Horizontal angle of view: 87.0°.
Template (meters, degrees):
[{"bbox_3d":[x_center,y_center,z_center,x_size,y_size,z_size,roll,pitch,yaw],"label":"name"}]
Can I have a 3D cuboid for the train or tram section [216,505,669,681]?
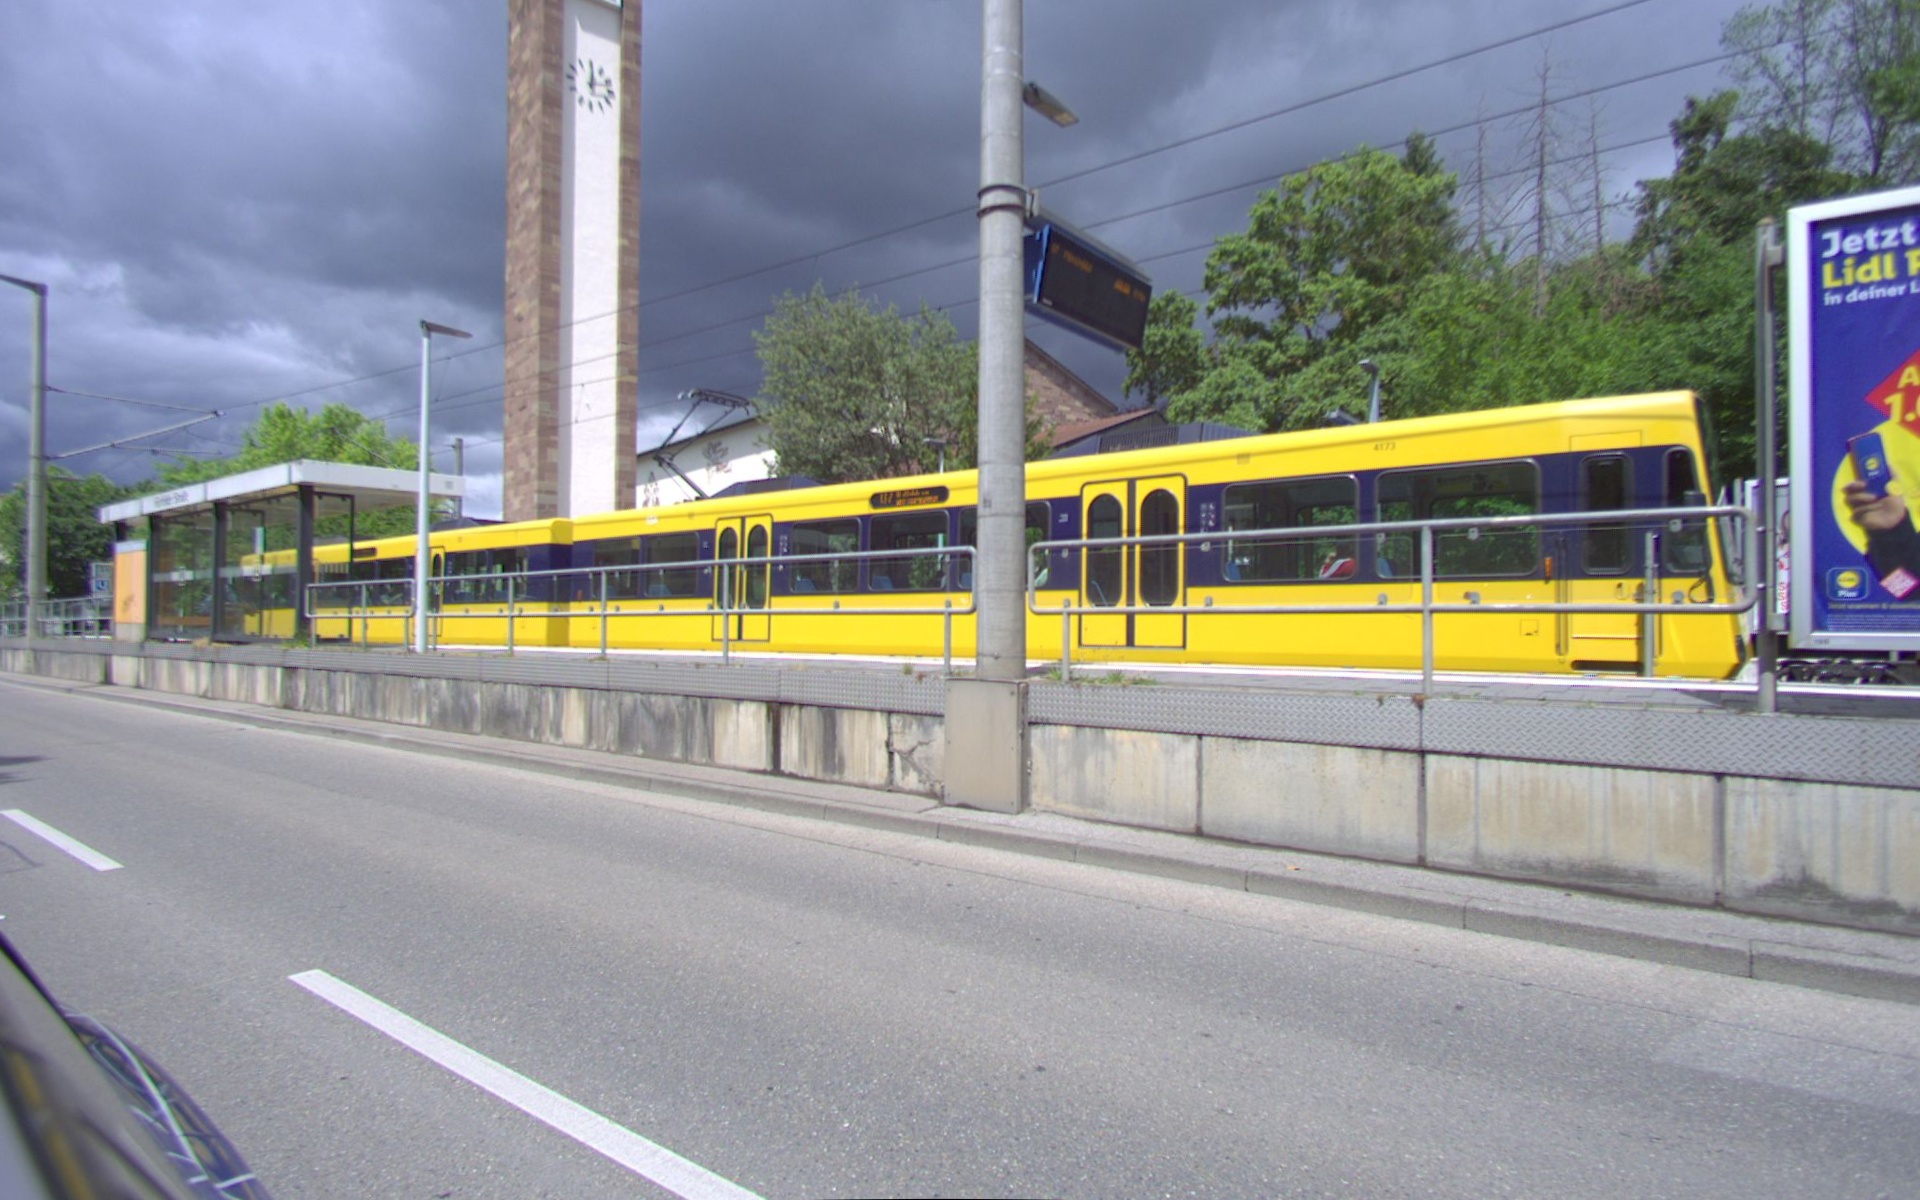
[{"bbox_3d":[-14.864,0.010,27.096,18.796,3.491,3.079,-1,0,38],"label":"train or tram section"}]

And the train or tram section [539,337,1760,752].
[{"bbox_3d":[0.094,-0.320,15.533,18.967,3.491,3.079,-1,0,38],"label":"train or tram section"}]

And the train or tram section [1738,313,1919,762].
[{"bbox_3d":[15.142,-0.653,3.884,19.168,3.491,3.079,-1,0,38],"label":"train or tram section"}]

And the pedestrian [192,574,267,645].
[{"bbox_3d":[-12.833,0.183,17.783,0.918,1.196,0.788,-1,-4,36],"label":"pedestrian"}]
